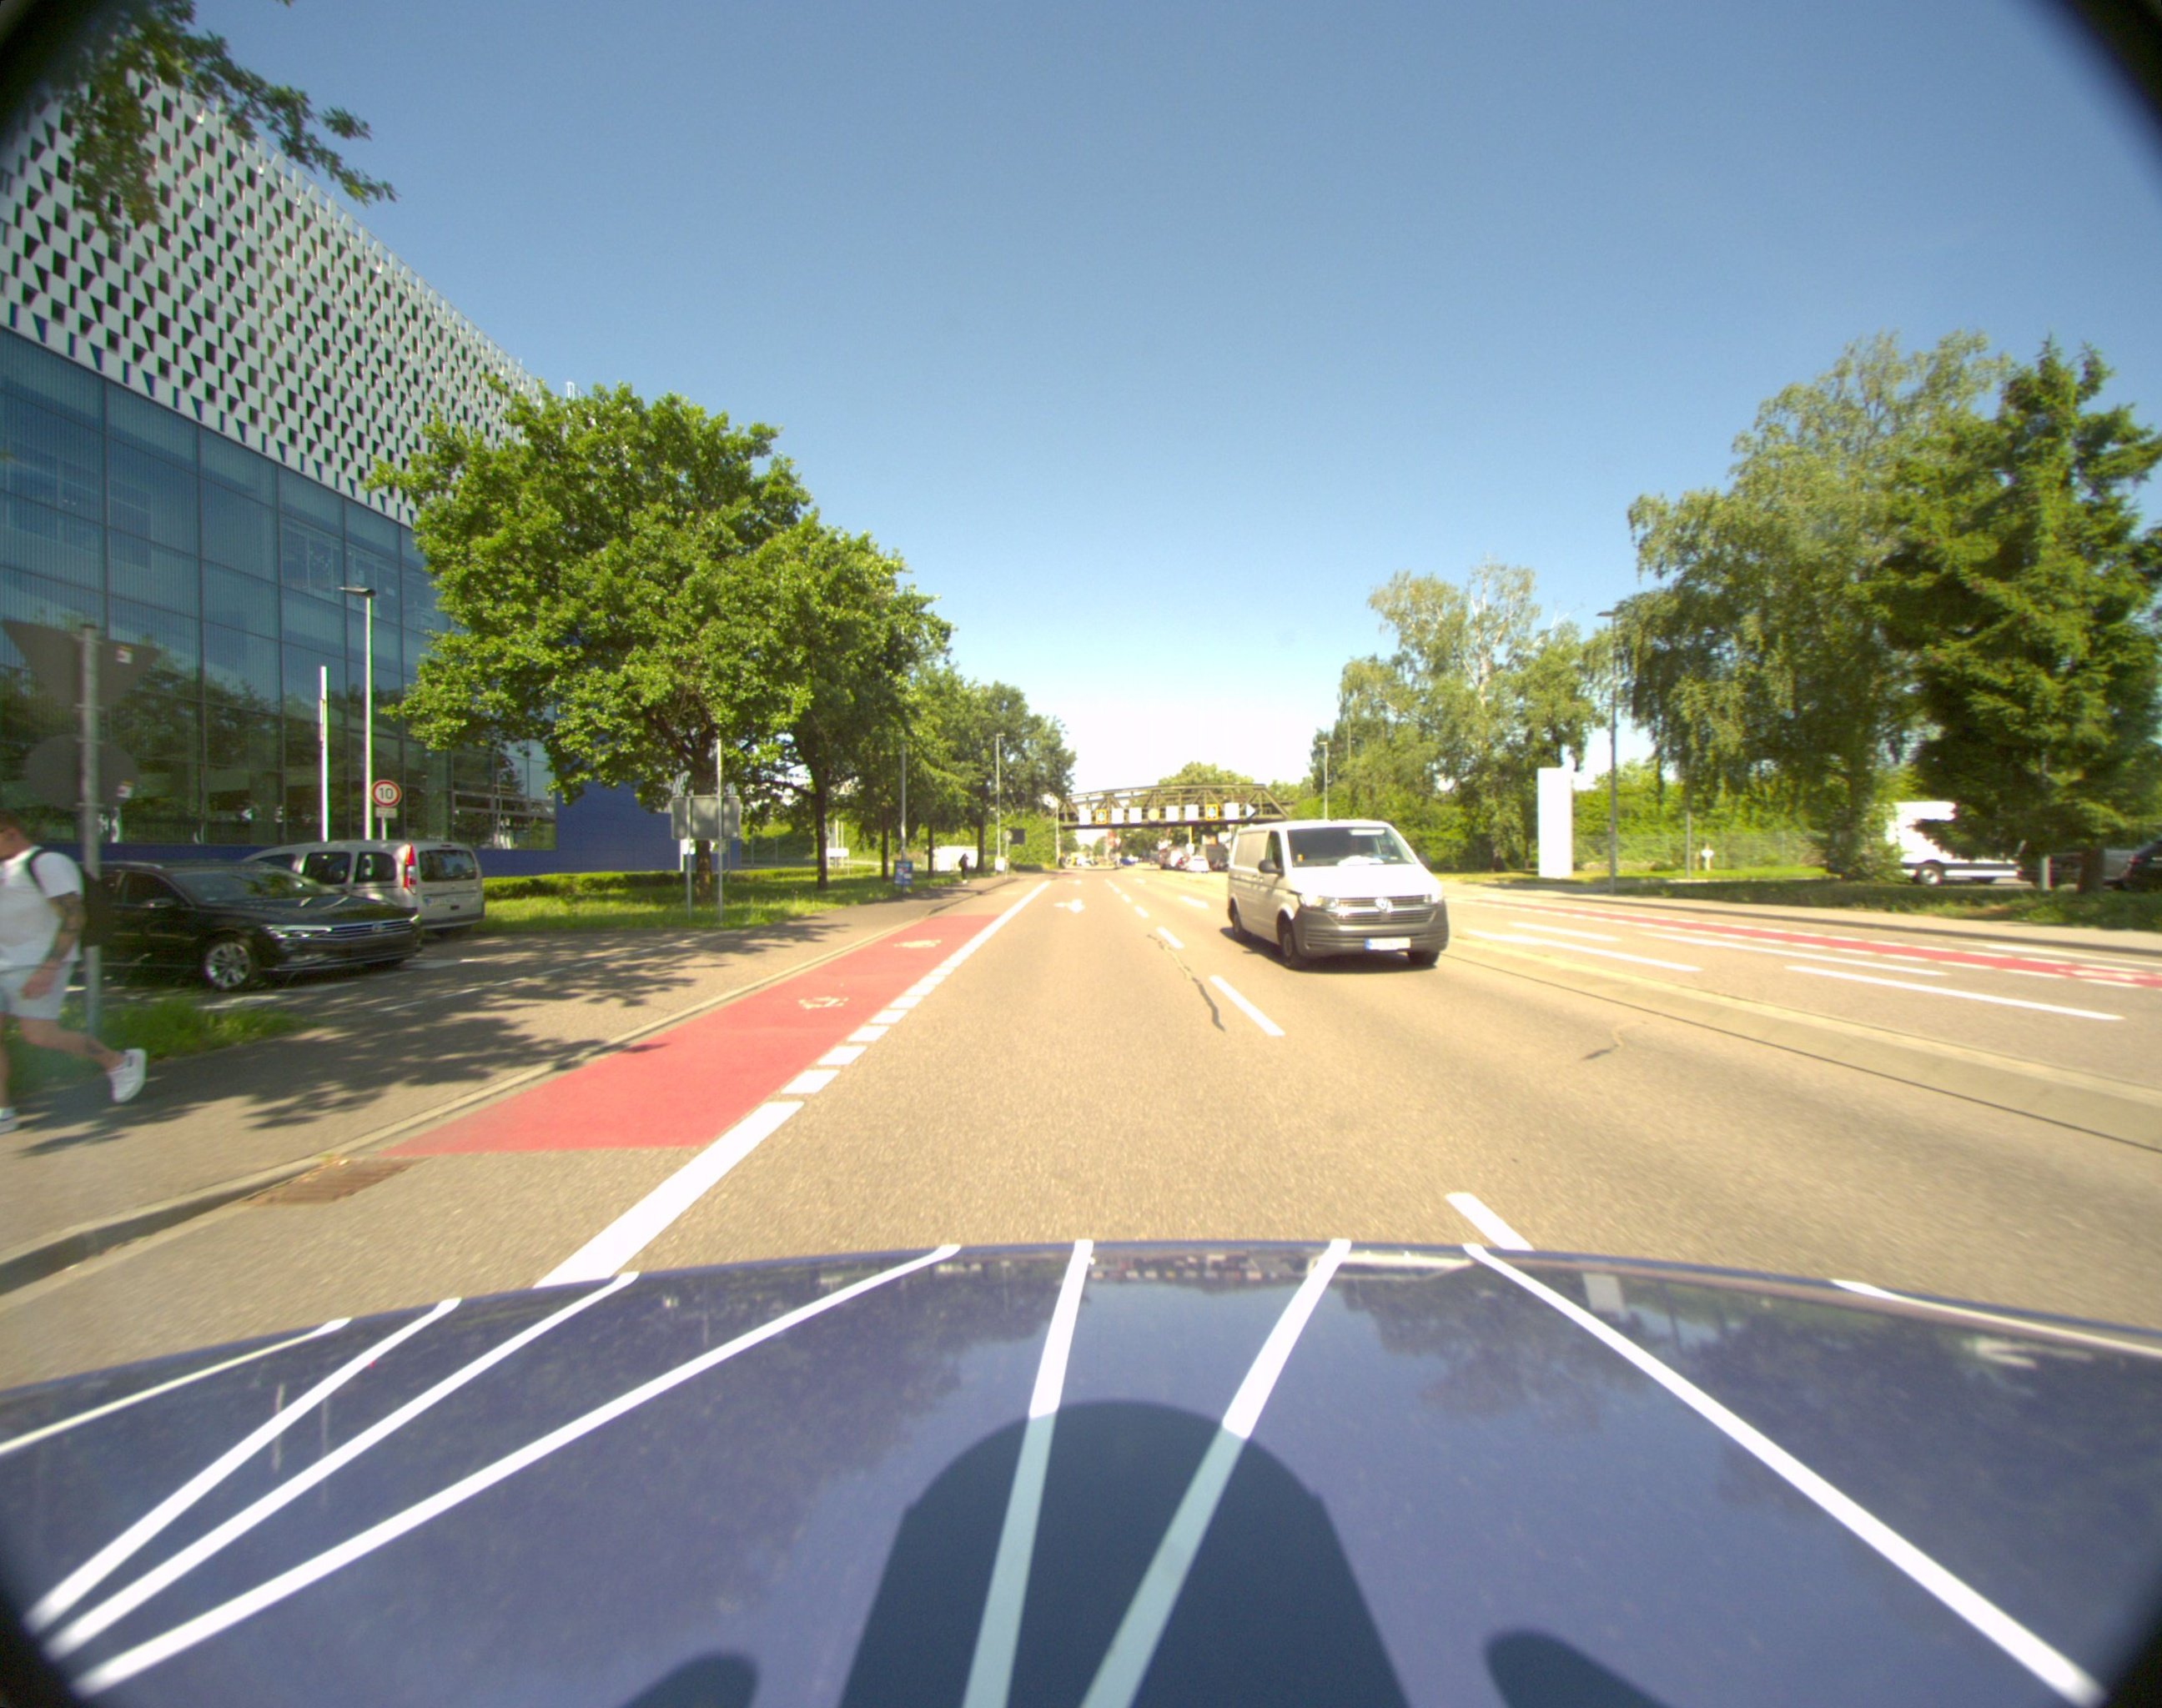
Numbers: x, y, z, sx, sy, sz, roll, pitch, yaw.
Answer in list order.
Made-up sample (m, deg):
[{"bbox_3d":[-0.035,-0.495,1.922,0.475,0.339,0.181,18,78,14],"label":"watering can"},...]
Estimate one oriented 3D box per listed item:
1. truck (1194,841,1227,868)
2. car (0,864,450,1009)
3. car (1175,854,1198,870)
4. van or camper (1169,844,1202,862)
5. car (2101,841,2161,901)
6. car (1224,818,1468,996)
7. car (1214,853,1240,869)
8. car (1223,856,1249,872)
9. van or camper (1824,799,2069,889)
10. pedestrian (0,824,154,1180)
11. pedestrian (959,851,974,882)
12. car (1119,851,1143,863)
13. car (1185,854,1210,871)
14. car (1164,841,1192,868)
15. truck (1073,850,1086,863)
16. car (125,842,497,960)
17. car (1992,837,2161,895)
[{"bbox_3d":[15.224,0.094,89.813,2.347,3.070,7.068,-1,0,-3],"label":"truck"},{"bbox_3d":[-10.600,0.902,9.327,4.368,1.511,1.913,0,0,8],"label":"car"},{"bbox_3d":[10.671,0.826,76.916,1.773,1.485,4.178,1,-1,1],"label":"car"},{"bbox_3d":[19.867,-0.132,144.706,5.779,3.136,2.600,-2,-1,-4],"label":"van or camper"},{"bbox_3d":[26.495,0.366,17.202,4.095,1.346,1.744,0,1,6],"label":"car"},{"bbox_3d":[3.423,0.600,10.969,1.886,1.982,4.975,0,0,1],"label":"car"},{"bbox_3d":[15.820,0.805,82.578,1.989,1.679,4.288,1,-1,1],"label":"car"},{"bbox_3d":[15.467,0.988,75.795,1.773,1.485,4.178,1,-1,1],"label":"car"},{"bbox_3d":[26.846,-0.290,23.705,5.393,2.456,2.000,-3,-1,-2],"label":"van or camper"},{"bbox_3d":[-5.824,0.762,4.171,0.536,1.831,0.728,0,1,1],"label":"pedestrian"},{"bbox_3d":[-5.979,0.635,39.612,0.648,1.594,0.846,0,1,1],"label":"pedestrian"},{"bbox_3d":[8.750,0.576,133.701,3.996,2.001,2.212,-3,-1,2],"label":"car"},{"bbox_3d":[10.511,0.764,68.704,1.647,1.485,3.829,1,-1,0],"label":"car"},{"bbox_3d":[10.699,0.097,84.521,1.999,2.788,6.937,2,0,-1],"label":"car"},{"bbox_3d":[-0.446,0.636,174.848,2.410,2.845,5.803,-2,-1,-5],"label":"truck"},{"bbox_3d":[-12.710,0.723,12.799,4.178,1.818,1.911,0,0,-3],"label":"car"},{"bbox_3d":[26.775,0.297,19.630,4.095,1.430,1.744,0,0,6],"label":"car"}]
